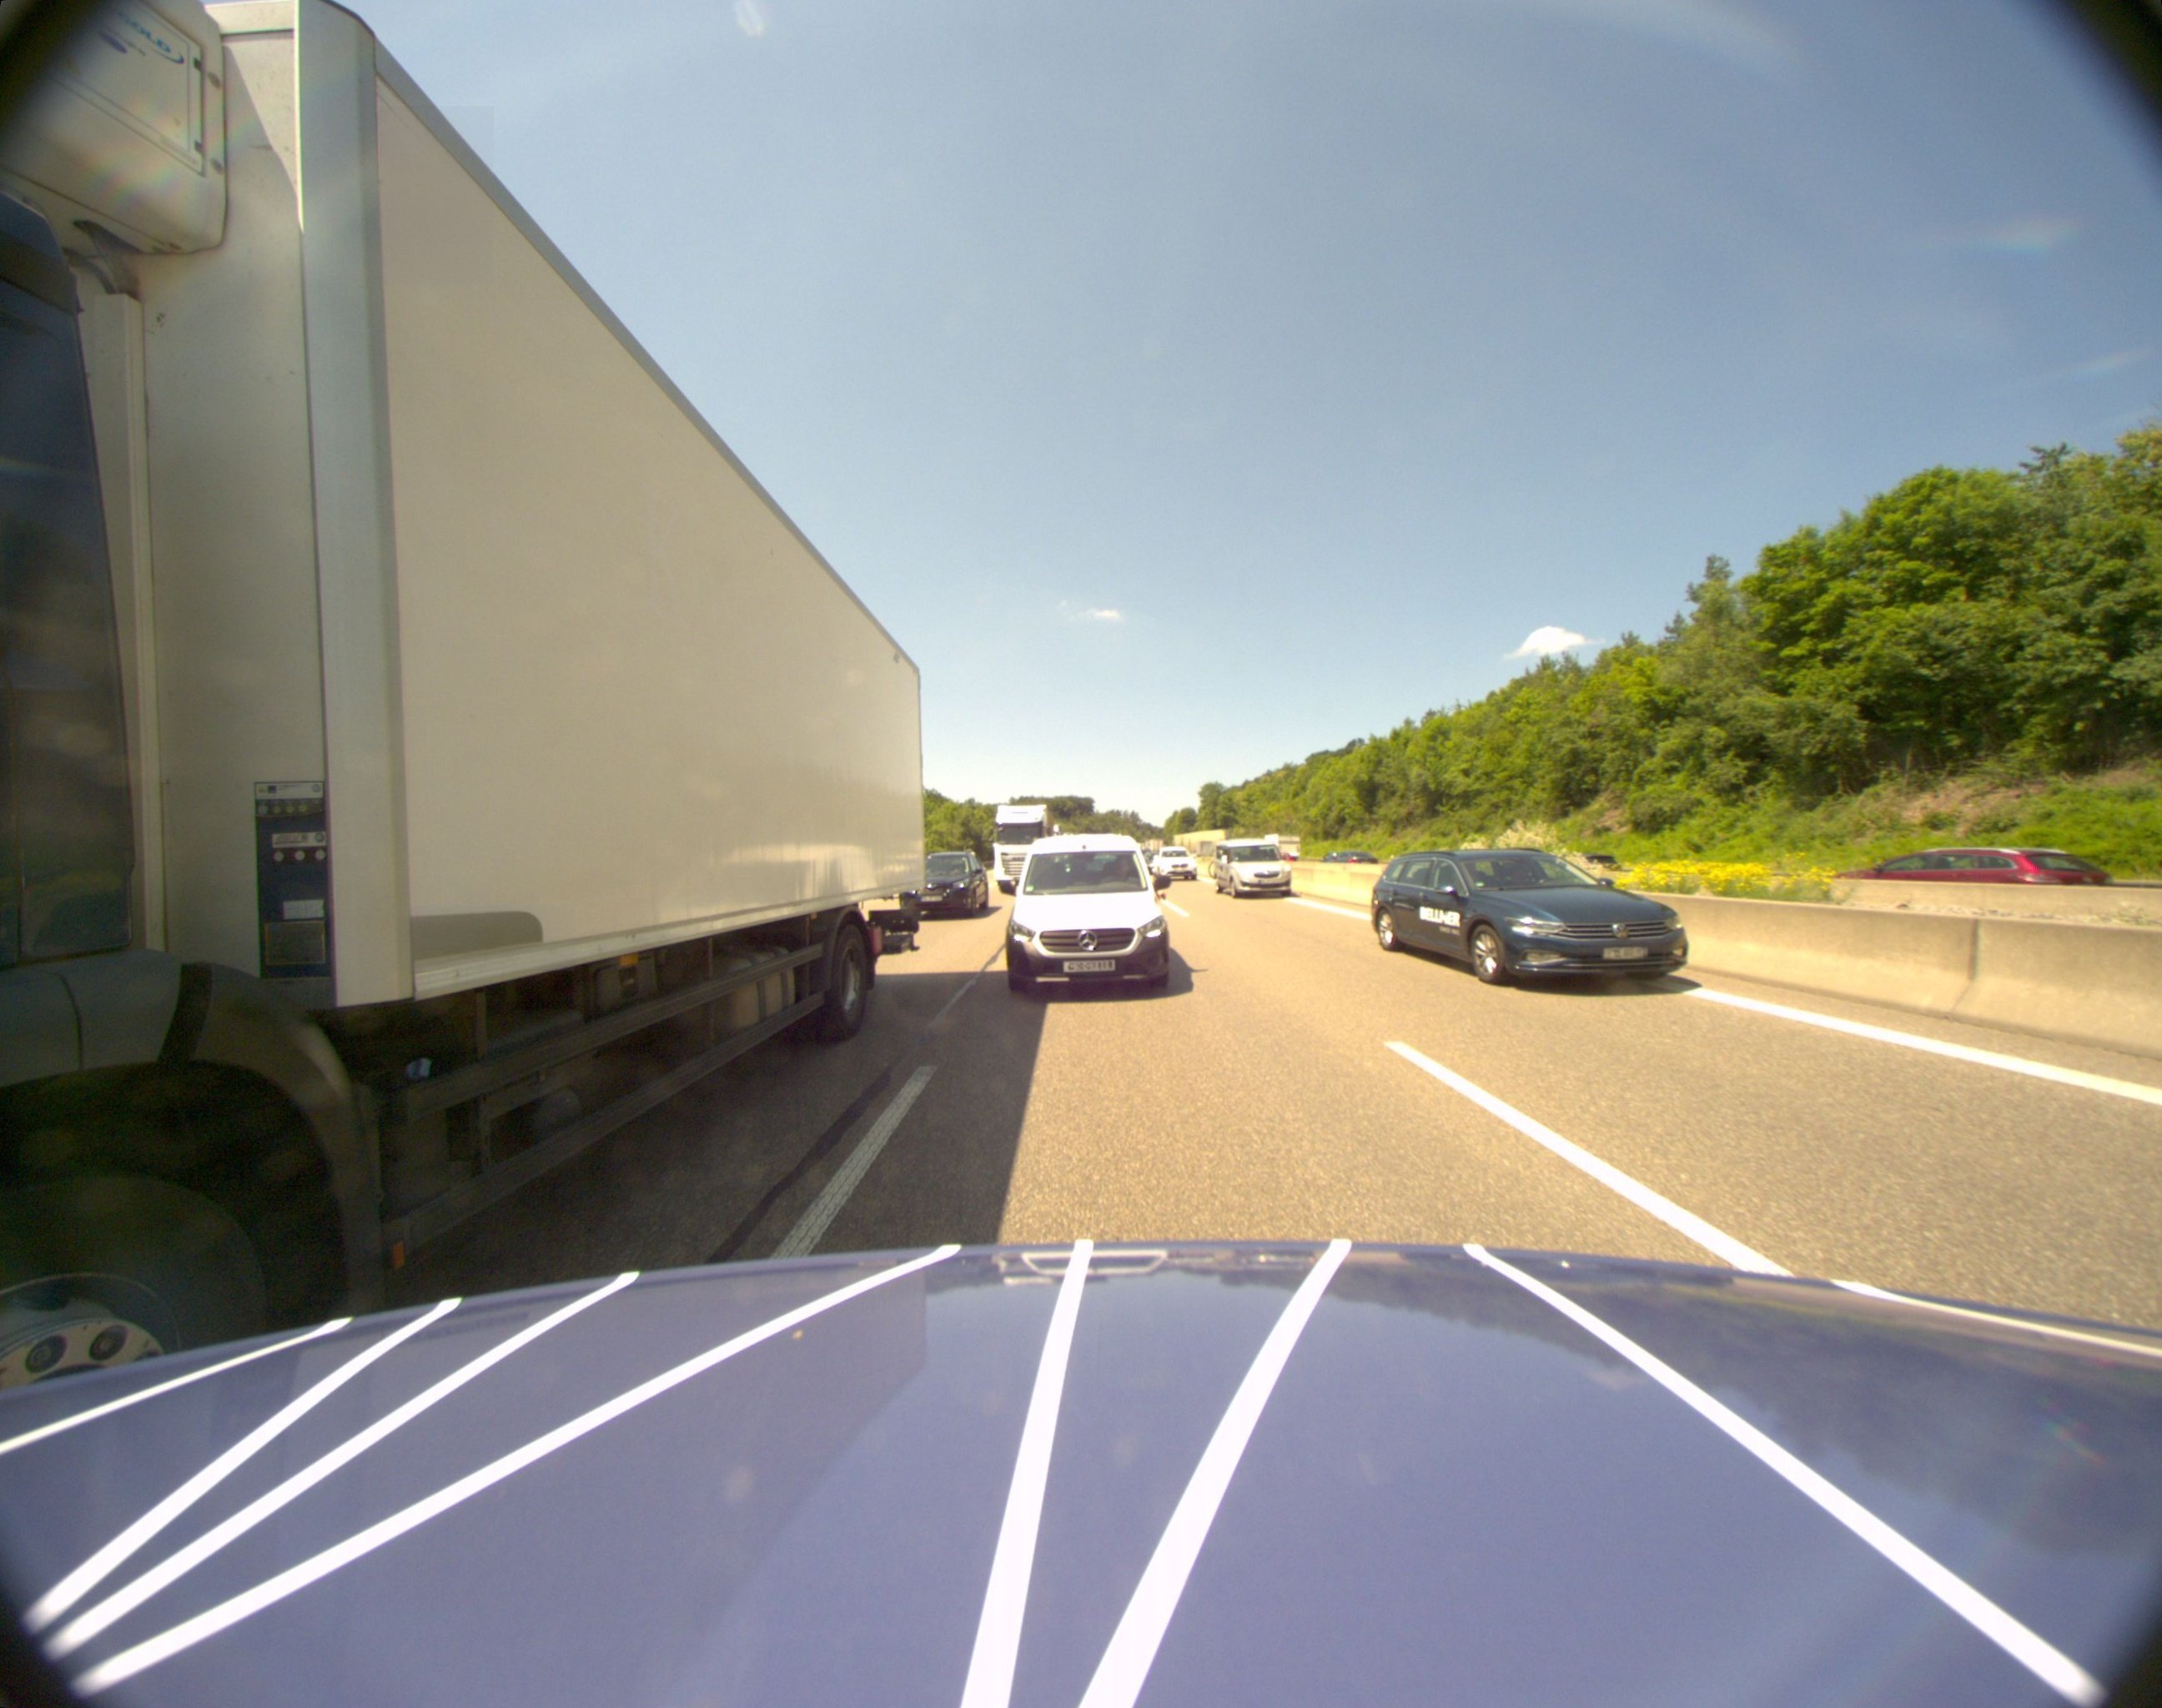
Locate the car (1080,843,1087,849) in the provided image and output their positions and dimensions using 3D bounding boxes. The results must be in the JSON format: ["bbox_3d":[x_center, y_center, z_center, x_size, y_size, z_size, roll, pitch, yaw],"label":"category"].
[{"bbox_3d":[0.850,-2.678,251.952,1.999,2.002,3.998,-2,2,0],"label":"car"}]

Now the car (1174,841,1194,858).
[{"bbox_3d":[12.800,-0.548,94.346,1.998,2.002,3.999,-2,2,2],"label":"car"}]

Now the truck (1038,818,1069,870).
[{"bbox_3d":[-2.449,-0.840,71.148,2.394,4.438,10.868,-2,0,0],"label":"truck"}]

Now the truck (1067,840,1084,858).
[{"bbox_3d":[-1.351,-1.171,193.276,4.084,4.403,11.396,-2,0,0],"label":"truck"}]

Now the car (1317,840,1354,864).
[{"bbox_3d":[23.267,-0.229,69.660,1.999,2.002,3.999,-2,2,0],"label":"car"}]

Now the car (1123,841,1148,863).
[{"bbox_3d":[5.256,-0.200,73.666,1.999,2.002,3.998,-2,2,-2],"label":"car"}]

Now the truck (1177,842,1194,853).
[{"bbox_3d":[21.273,-1.324,155.035,2.357,2.002,6.490,-2,1,0],"label":"truck"}]

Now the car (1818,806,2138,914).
[{"bbox_3d":[19.160,0.063,16.628,1.998,2.002,4.282,-2,2,1],"label":"car"}]

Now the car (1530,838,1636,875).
[{"bbox_3d":[21.753,0.070,33.125,1.998,1.439,3.999,-2,1,1],"label":"car"}]

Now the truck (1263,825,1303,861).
[{"bbox_3d":[23.791,-1.301,89.917,2.699,3.967,7.988,-2,2,1],"label":"truck"}]

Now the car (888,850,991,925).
[{"bbox_3d":[-3.620,0.779,20.265,1.999,1.682,4.609,0,1,-2],"label":"car"}]

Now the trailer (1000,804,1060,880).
[{"bbox_3d":[-2.873,-0.772,46.571,2.766,4.061,11.614,0,1,1],"label":"trailer"}]

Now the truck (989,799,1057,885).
[{"bbox_3d":[-2.895,-0.646,40.350,2.766,4.061,7.332,-2,2,1],"label":"truck"}]

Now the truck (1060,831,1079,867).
[{"bbox_3d":[-1.424,-0.639,99.020,2.187,4.438,10.868,-2,0,0],"label":"truck"}]

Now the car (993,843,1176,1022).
[{"bbox_3d":[0.074,0.747,9.691,1.756,1.681,4.363,-2,1,1],"label":"car"}]

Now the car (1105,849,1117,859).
[{"bbox_3d":[5.219,-0.051,133.026,1.803,1.660,4.000,-2,0,0],"label":"car"}]

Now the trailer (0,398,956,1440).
[{"bbox_3d":[-3.106,0.193,6.081,2.562,2.882,7.882,-2,1,2],"label":"trailer"}]

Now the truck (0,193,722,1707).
[{"bbox_3d":[-3.212,0.267,1.838,2.562,2.924,4.103,-1,2,2],"label":"truck"}]

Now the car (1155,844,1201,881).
[{"bbox_3d":[4.896,0.366,38.700,1.824,1.696,3.999,-2,1,1],"label":"car"}]

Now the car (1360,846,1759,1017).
[{"bbox_3d":[5.141,0.673,9.133,1.879,1.442,4.677,-2,1,1],"label":"car"}]

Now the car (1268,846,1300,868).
[{"bbox_3d":[19.943,0.273,74.919,1.999,2.002,3.999,-2,2,0],"label":"car"}]

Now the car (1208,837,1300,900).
[{"bbox_3d":[5.462,0.382,24.620,1.857,1.762,4.916,-2,1,1],"label":"car"}]

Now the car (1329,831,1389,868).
[{"bbox_3d":[15.997,-0.303,43.969,1.998,2.002,3.999,-2,2,0],"label":"car"}]

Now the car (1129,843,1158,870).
[{"bbox_3d":[4.801,0.214,59.189,1.998,2.001,4.001,0,-1,1],"label":"car"}]

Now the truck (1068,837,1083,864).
[{"bbox_3d":[-0.882,-0.590,123.248,2.187,4.073,10.868,-2,0,0],"label":"truck"}]

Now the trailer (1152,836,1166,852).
[{"bbox_3d":[21.929,-2.910,214.362,2.956,4.456,10.814,-2,1,1],"label":"trailer"}]

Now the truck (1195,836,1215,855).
[{"bbox_3d":[20.690,-1.457,126.711,2.183,2.868,6.740,-2,1,0],"label":"truck"}]

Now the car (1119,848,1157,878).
[{"bbox_3d":[3.611,0.542,48.914,1.999,1.747,3.998,-2,1,-1],"label":"car"}]
